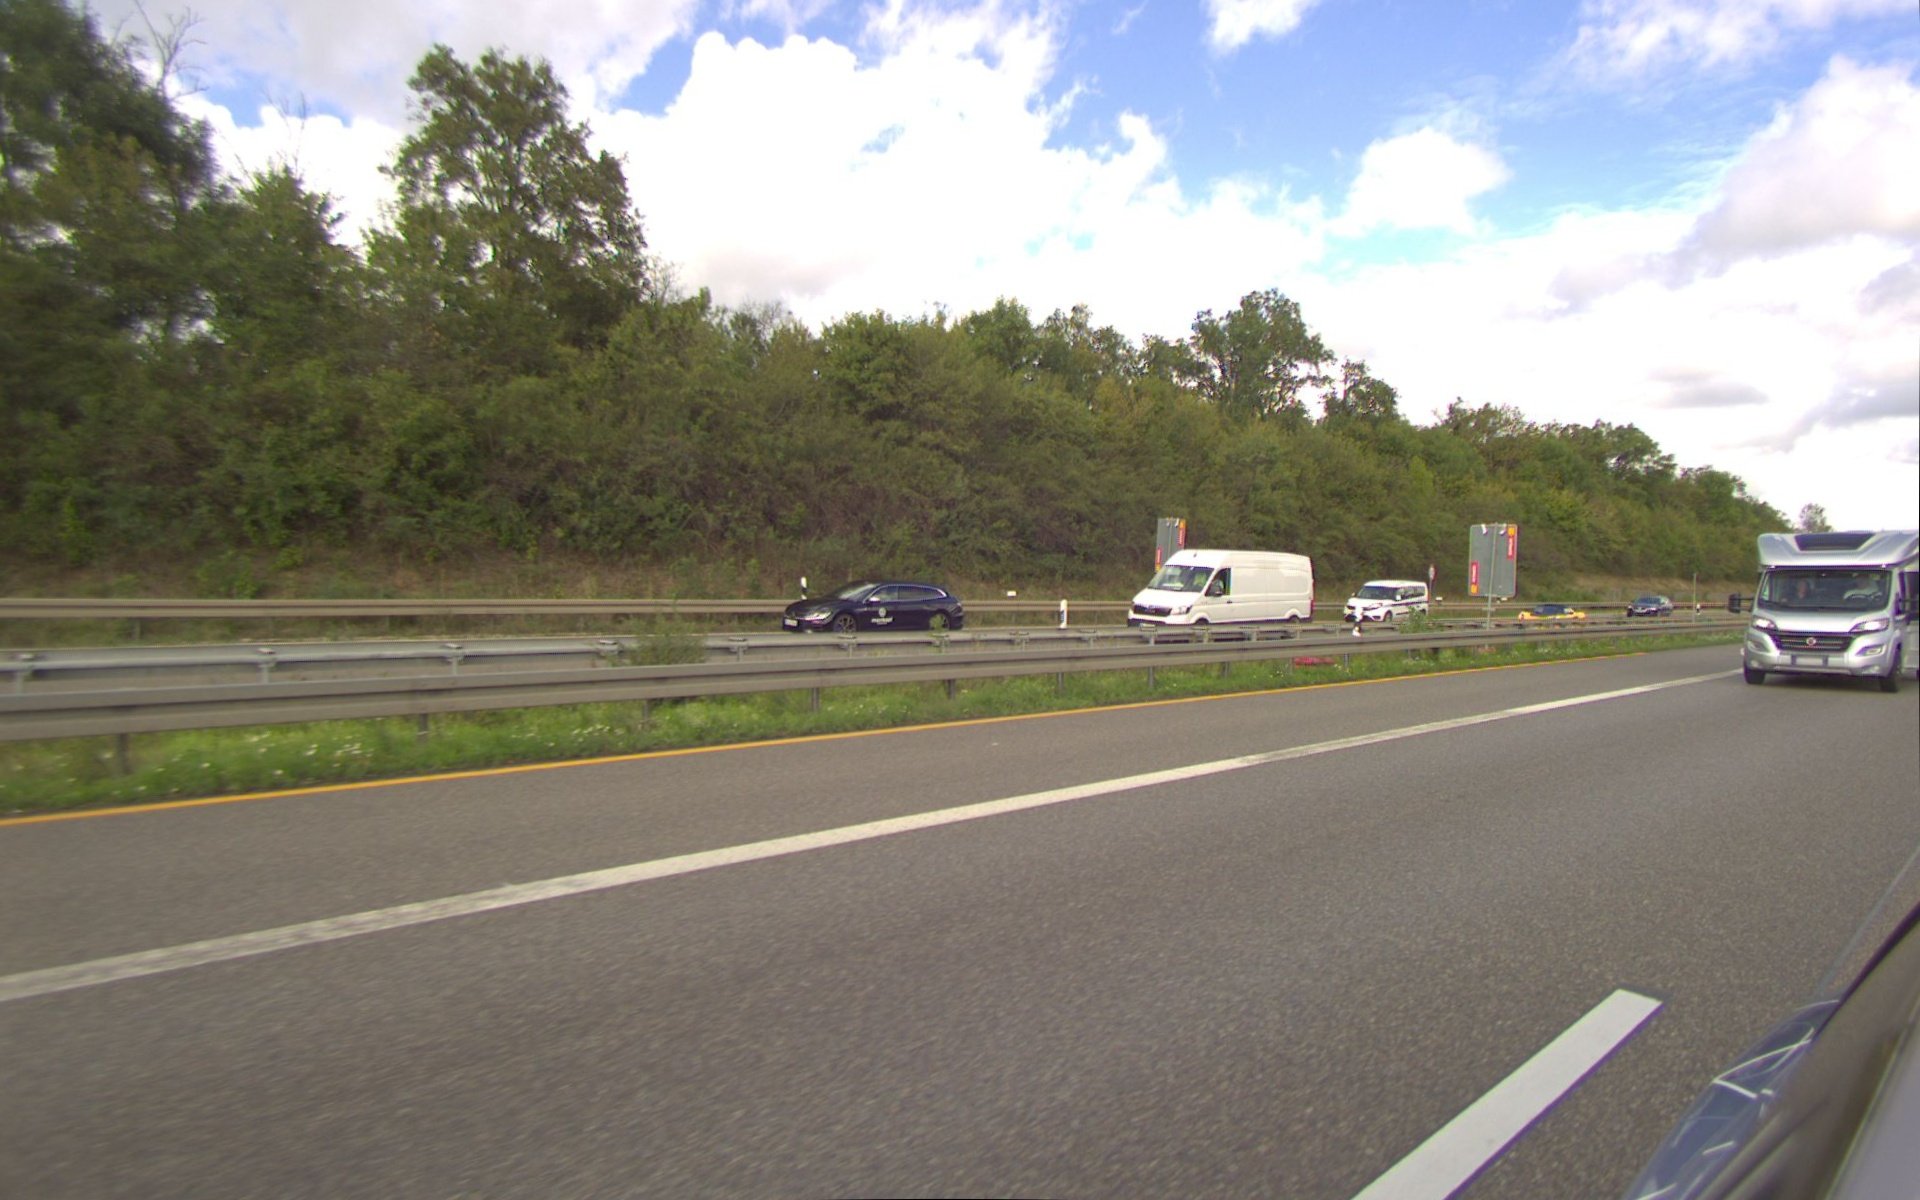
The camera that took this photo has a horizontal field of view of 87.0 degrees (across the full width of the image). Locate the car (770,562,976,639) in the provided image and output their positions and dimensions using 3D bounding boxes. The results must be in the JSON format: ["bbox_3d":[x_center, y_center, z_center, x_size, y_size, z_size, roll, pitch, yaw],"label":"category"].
[{"bbox_3d":[-1.992,-0.009,24.152,4.682,1.622,1.847,0,3,-42],"label":"car"}]

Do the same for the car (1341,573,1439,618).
[{"bbox_3d":[17.802,-0.190,41.758,4.680,1.774,1.846,0,0,-41],"label":"car"}]

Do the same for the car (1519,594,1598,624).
[{"bbox_3d":[25.571,0.375,43.179,4.096,1.196,1.715,0,0,-41],"label":"car"}]

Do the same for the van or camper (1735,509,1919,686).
[{"bbox_3d":[17.064,-0.046,19.088,7.528,2.756,2.473,0,0,-41],"label":"van or camper"}]

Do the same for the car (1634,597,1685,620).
[{"bbox_3d":[45.717,0.531,66.115,4.095,1.433,1.715,1,1,-41],"label":"car"}]

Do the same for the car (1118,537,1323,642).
[{"bbox_3d":[7.338,-0.285,27.949,6.625,2.586,2.074,1,1,-41],"label":"car"}]
